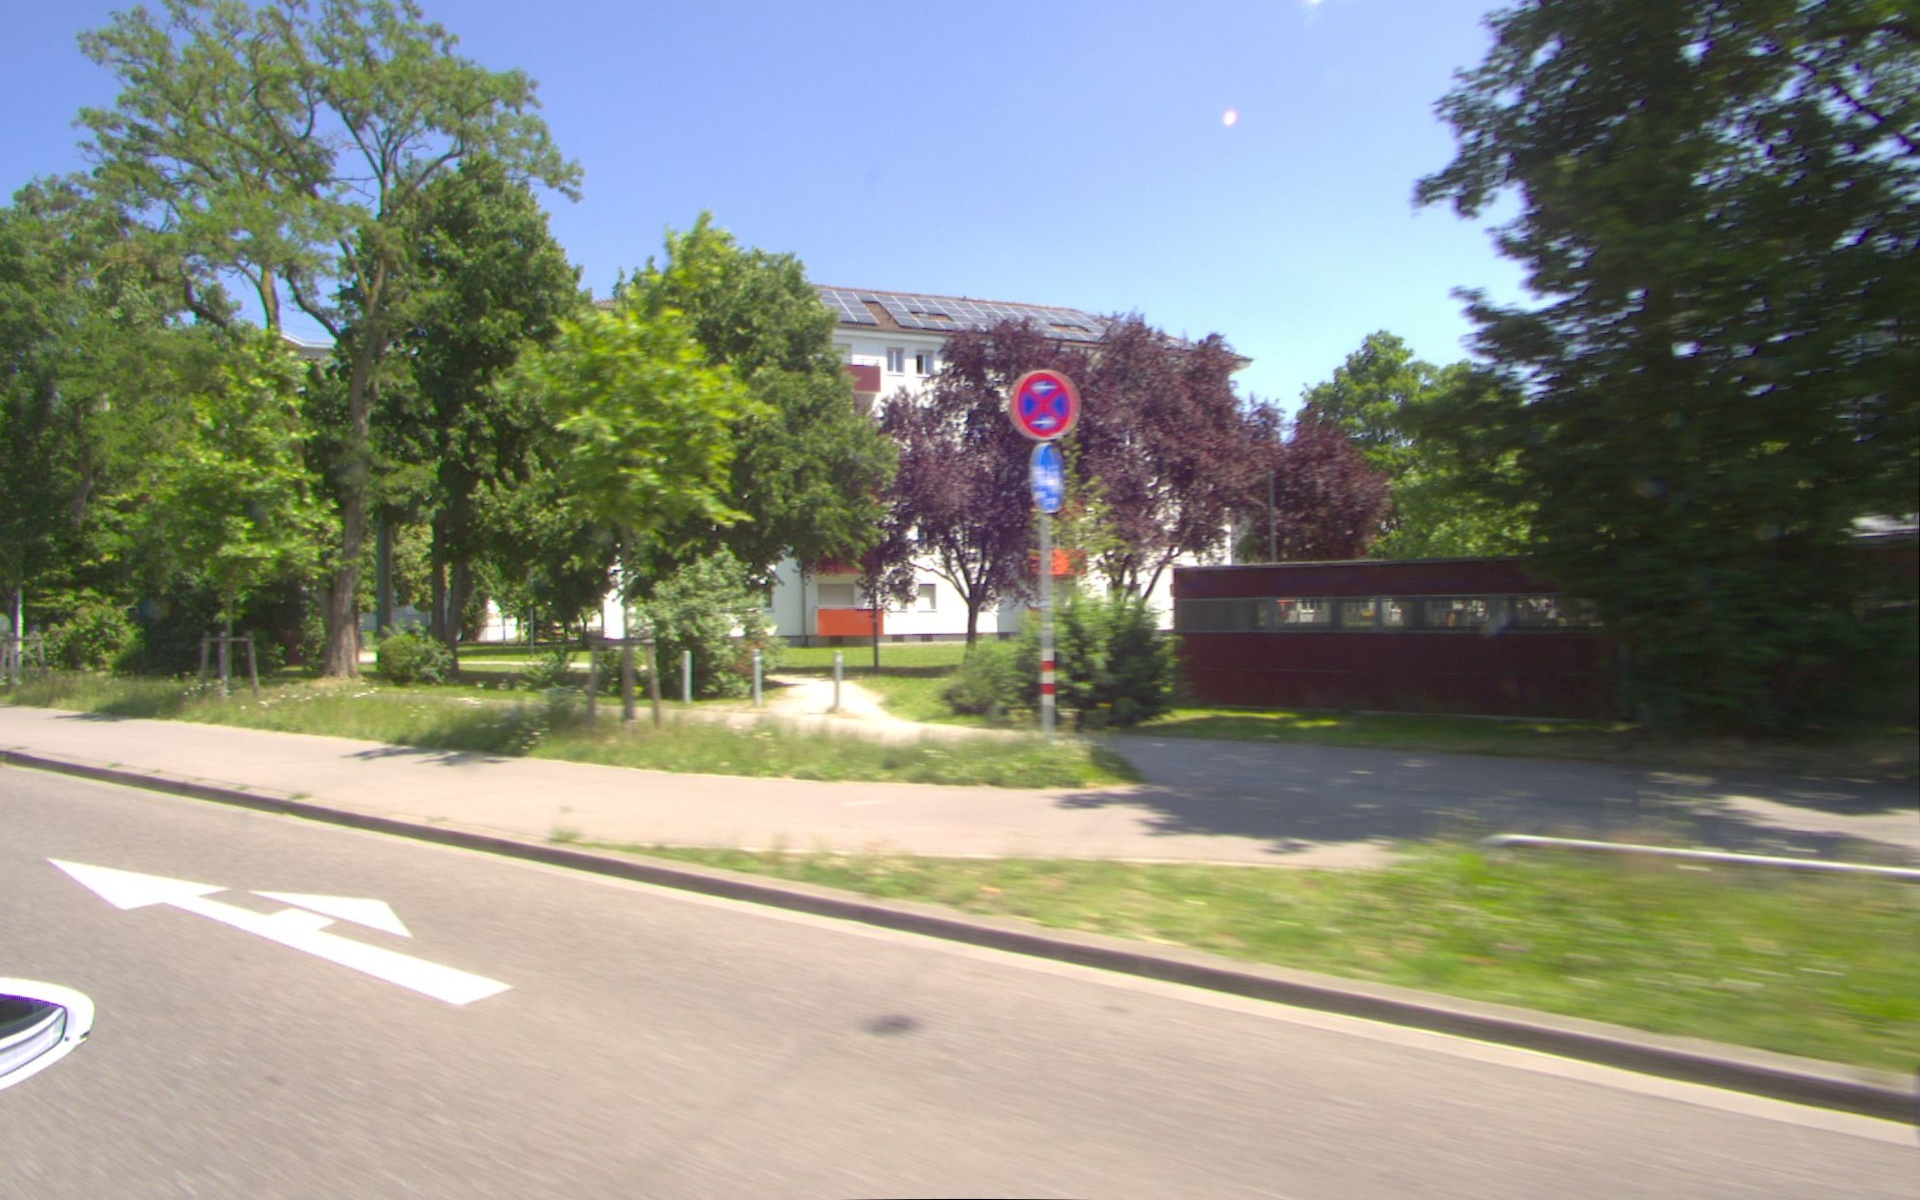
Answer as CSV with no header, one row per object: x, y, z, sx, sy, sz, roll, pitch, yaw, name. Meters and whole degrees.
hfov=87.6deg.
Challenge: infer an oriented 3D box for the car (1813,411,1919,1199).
3.971,0.546,0.599,5.008,1.879,1.802,-1,-2,31,car
